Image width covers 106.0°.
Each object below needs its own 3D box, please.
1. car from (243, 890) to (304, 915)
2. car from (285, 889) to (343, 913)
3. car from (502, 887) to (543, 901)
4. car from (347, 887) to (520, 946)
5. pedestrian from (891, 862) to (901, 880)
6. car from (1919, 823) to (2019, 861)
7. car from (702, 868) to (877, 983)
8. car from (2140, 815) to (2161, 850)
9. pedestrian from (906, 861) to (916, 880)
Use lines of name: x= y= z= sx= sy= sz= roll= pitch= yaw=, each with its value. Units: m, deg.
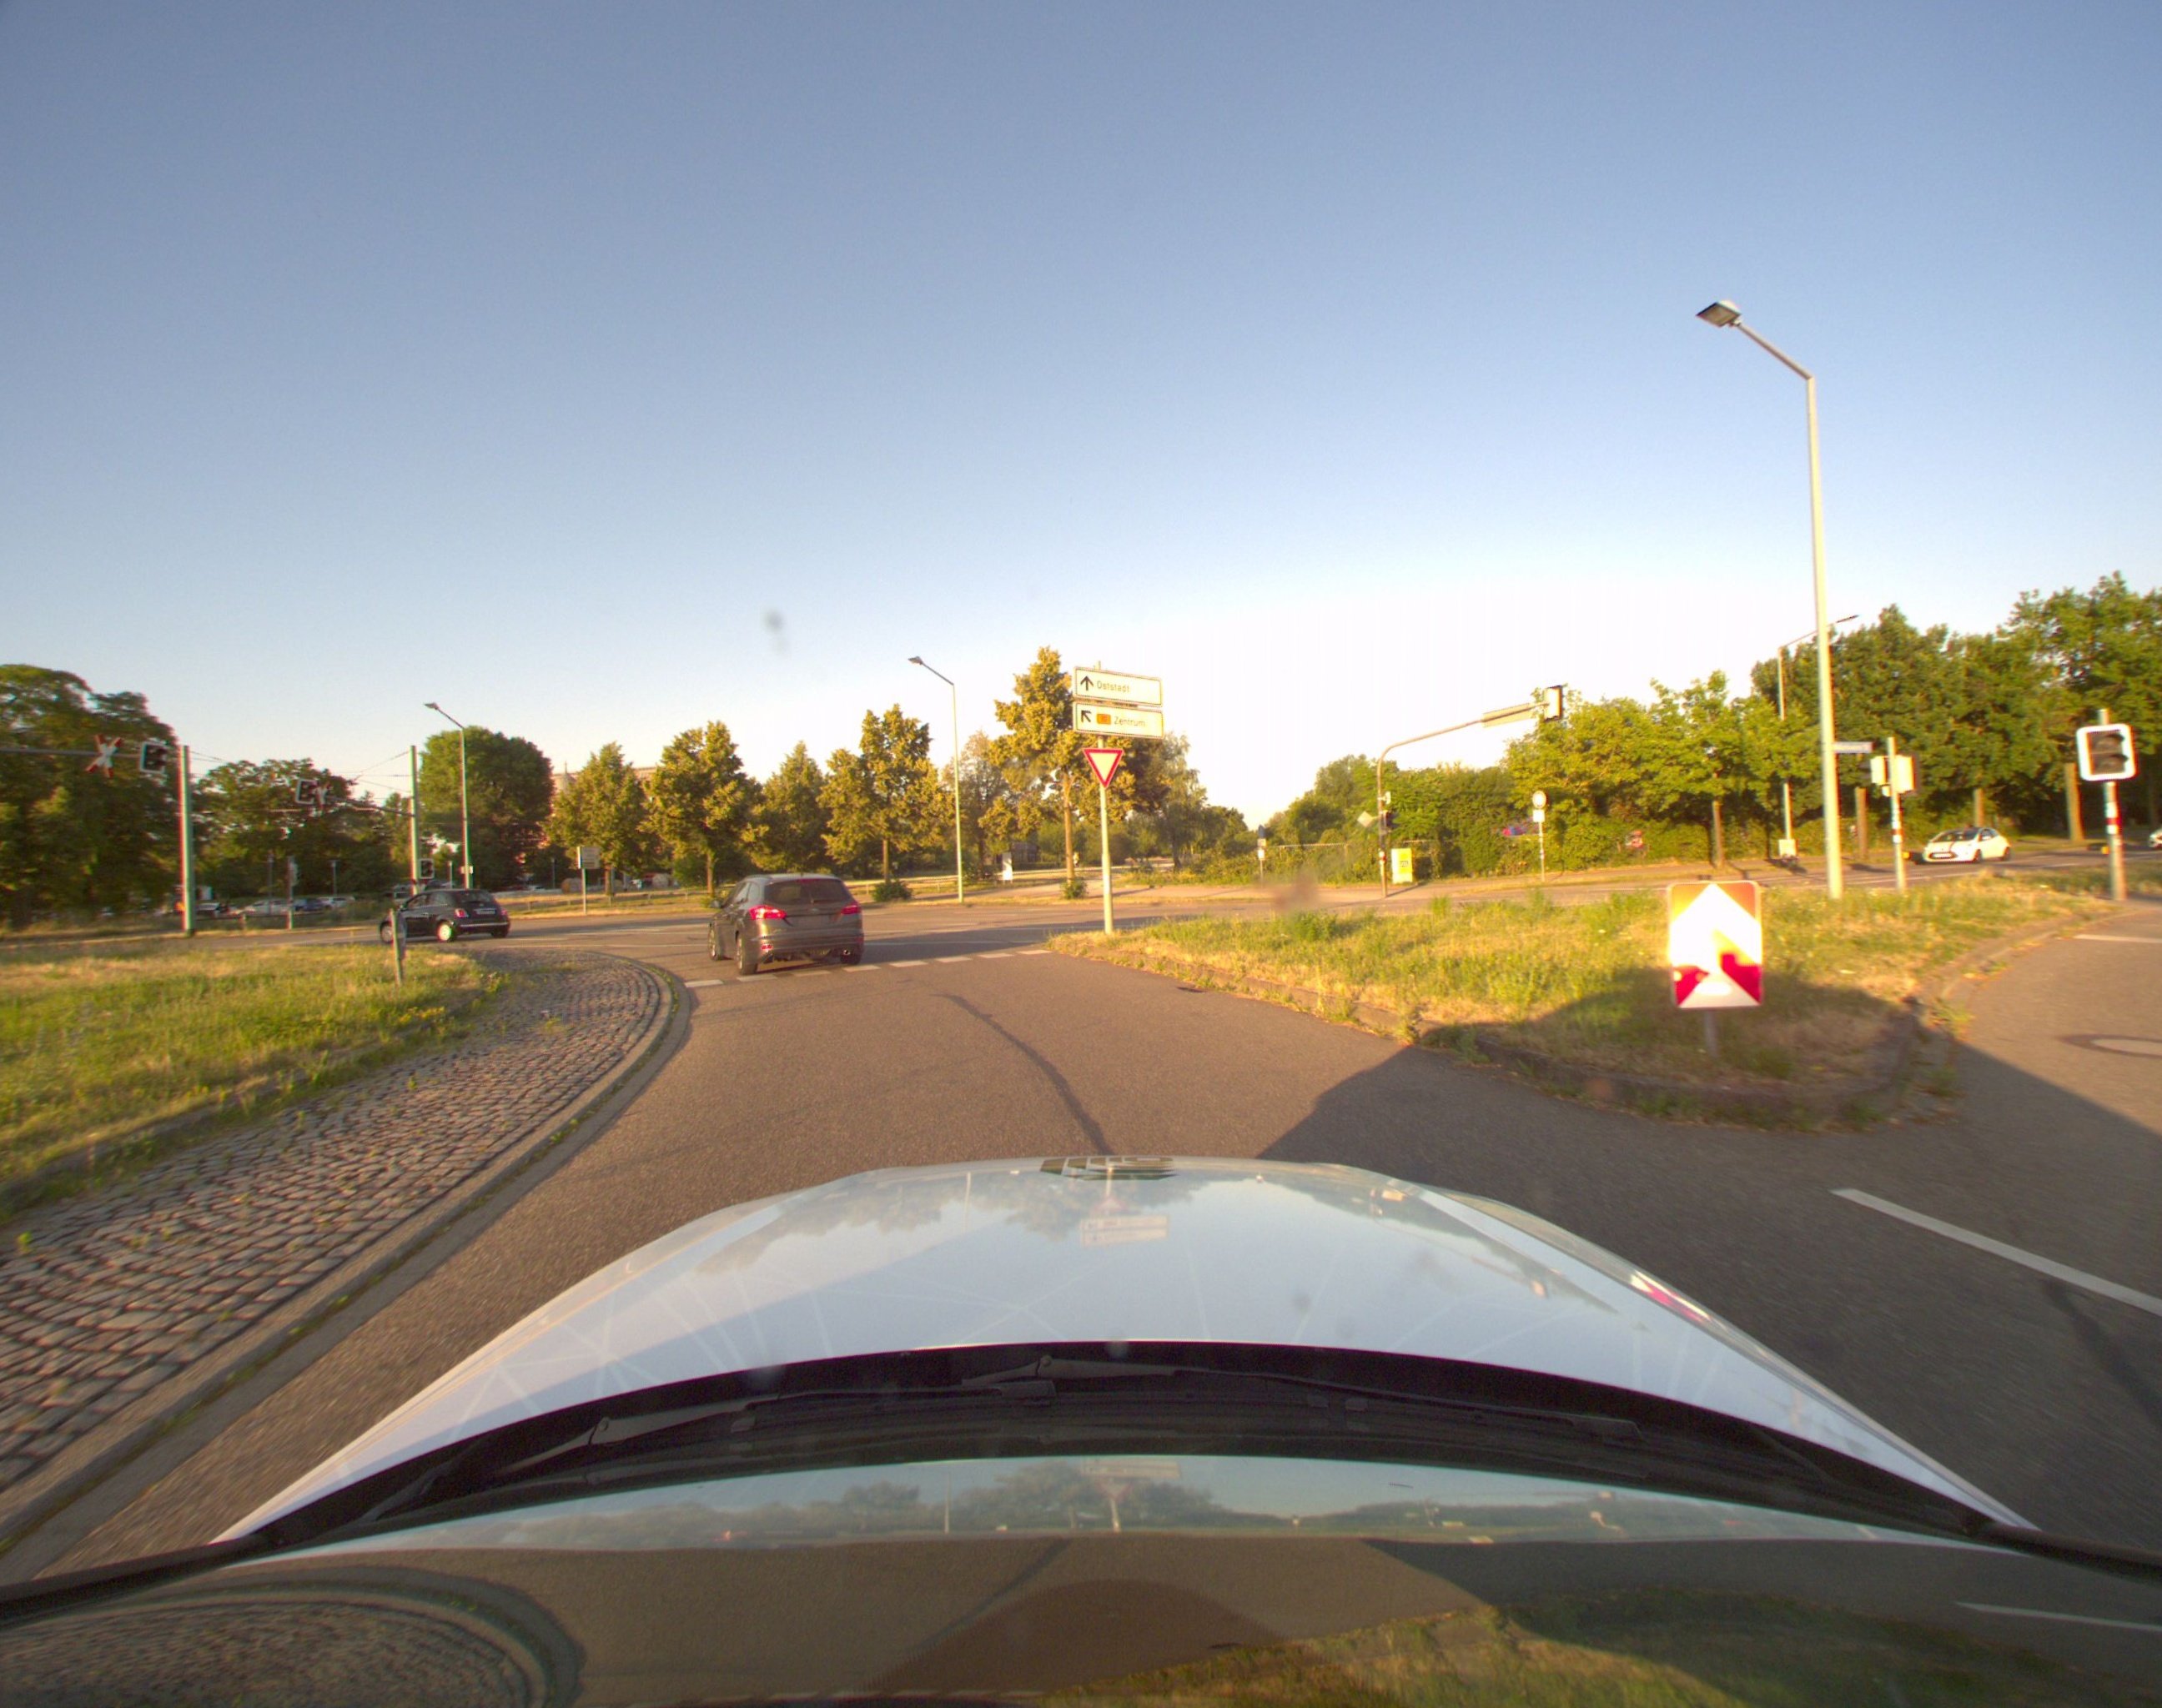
car: x=-77.079 y=4.597 z=77.778 sx=3.965 sy=2.098 sz=2.004 roll=-3 pitch=0 yaw=7
car: x=-76.235 y=4.693 z=80.972 sx=3.965 sy=2.098 sz=2.004 roll=-3 pitch=0 yaw=7
car: x=-72.924 y=5.248 z=106.301 sx=3.966 sy=1.551 sz=2.003 roll=-3 pitch=0 yaw=6
car: x=-18.477 y=1.772 z=23.276 sx=4.089 sy=1.446 sz=1.759 roll=-3 pitch=0 yaw=17
pedestrian: x=-16.686 y=1.517 z=73.401 sx=0.584 sy=1.626 sz=0.527 roll=-2 pitch=-1 yaw=-39
car: x=37.243 y=-0.501 z=34.154 sx=3.486 sy=1.443 sz=1.544 roll=-2 pitch=-1 yaw=-20
car: x=-4.899 y=1.026 z=13.299 sx=1.758 sy=1.466 sz=4.092 roll=-3 pitch=0 yaw=-33
car: x=47.511 y=-1.011 z=34.405 sx=4.542 sy=1.449 sz=1.719 roll=-3 pitch=-1 yaw=-15
pedestrian: x=-15.251 y=1.469 z=73.182 sx=0.624 sy=1.626 sz=0.524 roll=-2 pitch=-1 yaw=-45
